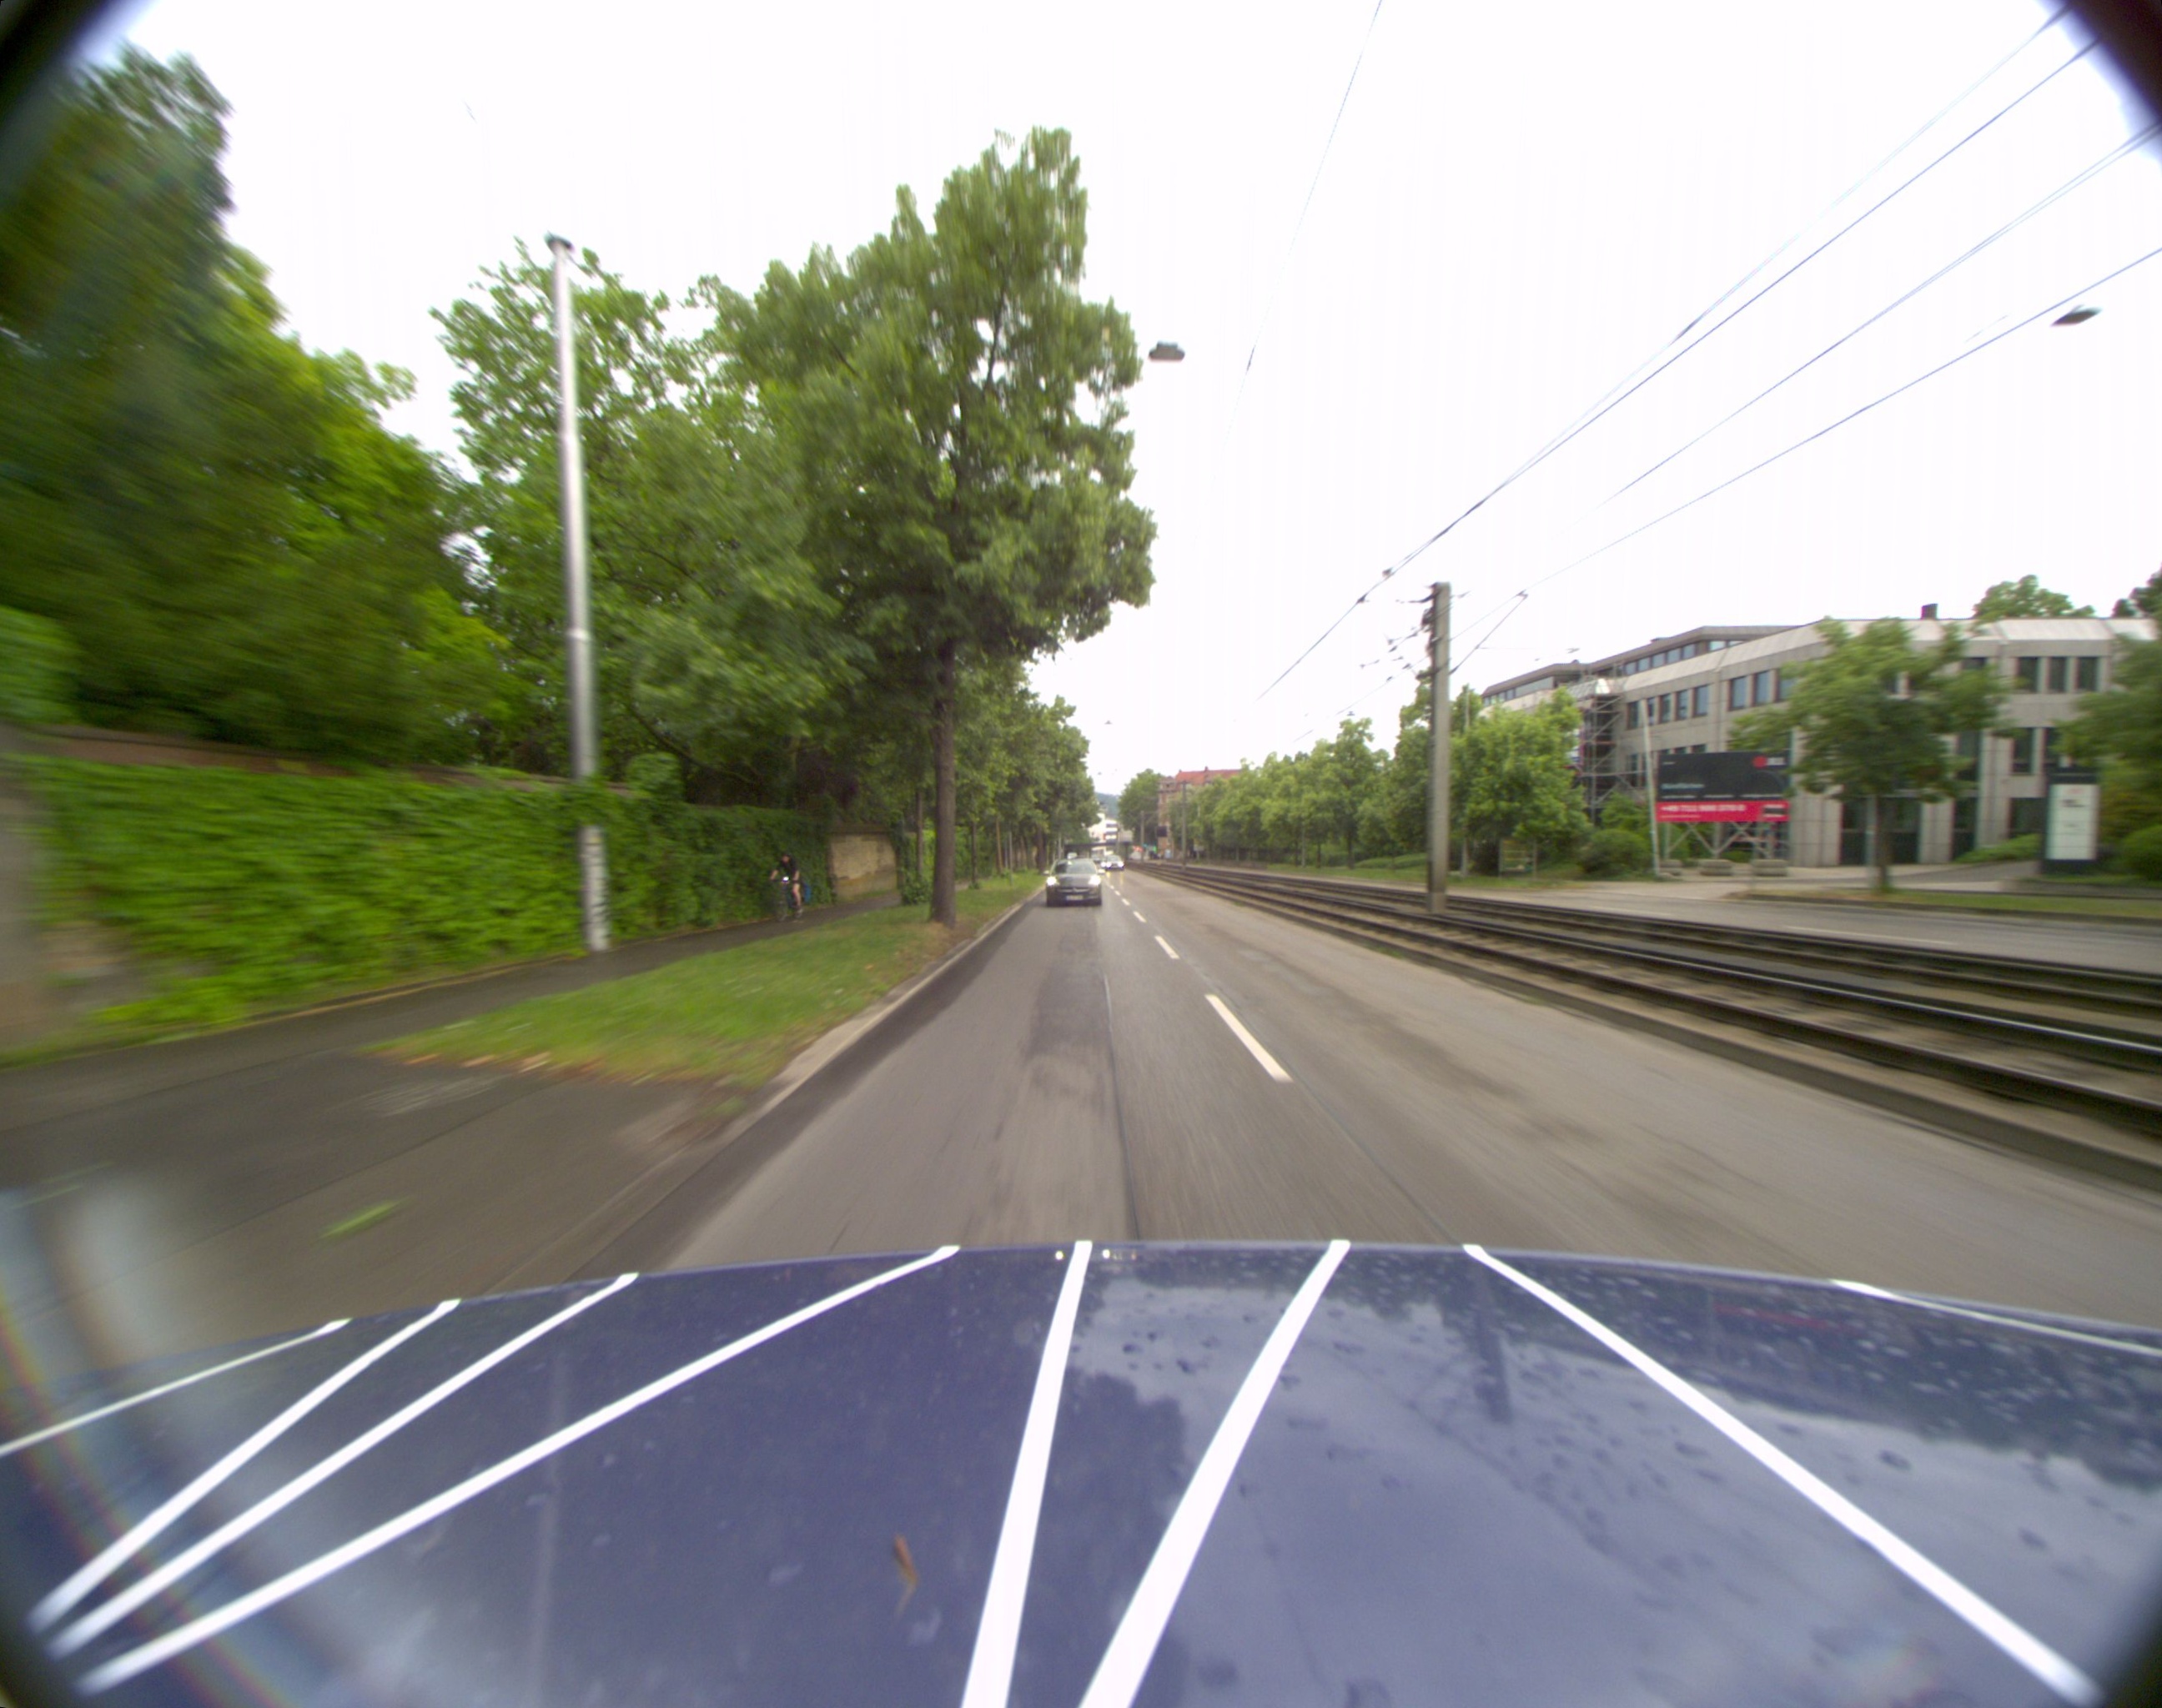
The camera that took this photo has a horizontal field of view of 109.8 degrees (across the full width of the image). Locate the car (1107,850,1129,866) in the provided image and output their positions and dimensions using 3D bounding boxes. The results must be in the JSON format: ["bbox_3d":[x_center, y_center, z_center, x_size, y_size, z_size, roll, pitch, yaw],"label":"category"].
[{"bbox_3d":[3.463,0.359,71.014,1.807,1.483,4.102,0,0,0],"label":"car"}]

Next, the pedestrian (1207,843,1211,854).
[{"bbox_3d":[24.256,-1.037,144.156,0.597,1.892,0.654,-2,1,-3],"label":"pedestrian"}]

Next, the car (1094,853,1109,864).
[{"bbox_3d":[3.413,0.694,126.361,2.000,1.801,3.997,-2,1,-7],"label":"car"}]

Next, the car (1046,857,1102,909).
[{"bbox_3d":[-0.220,0.860,24.174,1.658,1.483,3.829,0,0,0],"label":"car"}]

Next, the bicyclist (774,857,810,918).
[{"bbox_3d":[-6.717,0.770,17.654,0.536,1.381,0.666,0,1,3],"label":"bicyclist"}]

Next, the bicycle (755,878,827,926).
[{"bbox_3d":[-6.725,1.082,17.789,0.544,0.942,2.550,0,1,4],"label":"bicycle"}]

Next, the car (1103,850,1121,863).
[{"bbox_3d":[3.485,0.271,86.418,1.807,1.483,4.102,0,0,-1],"label":"car"}]

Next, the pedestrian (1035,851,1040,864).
[{"bbox_3d":[-6.004,0.490,105.212,0.710,1.769,0.900,-1,1,-2],"label":"pedestrian"}]
